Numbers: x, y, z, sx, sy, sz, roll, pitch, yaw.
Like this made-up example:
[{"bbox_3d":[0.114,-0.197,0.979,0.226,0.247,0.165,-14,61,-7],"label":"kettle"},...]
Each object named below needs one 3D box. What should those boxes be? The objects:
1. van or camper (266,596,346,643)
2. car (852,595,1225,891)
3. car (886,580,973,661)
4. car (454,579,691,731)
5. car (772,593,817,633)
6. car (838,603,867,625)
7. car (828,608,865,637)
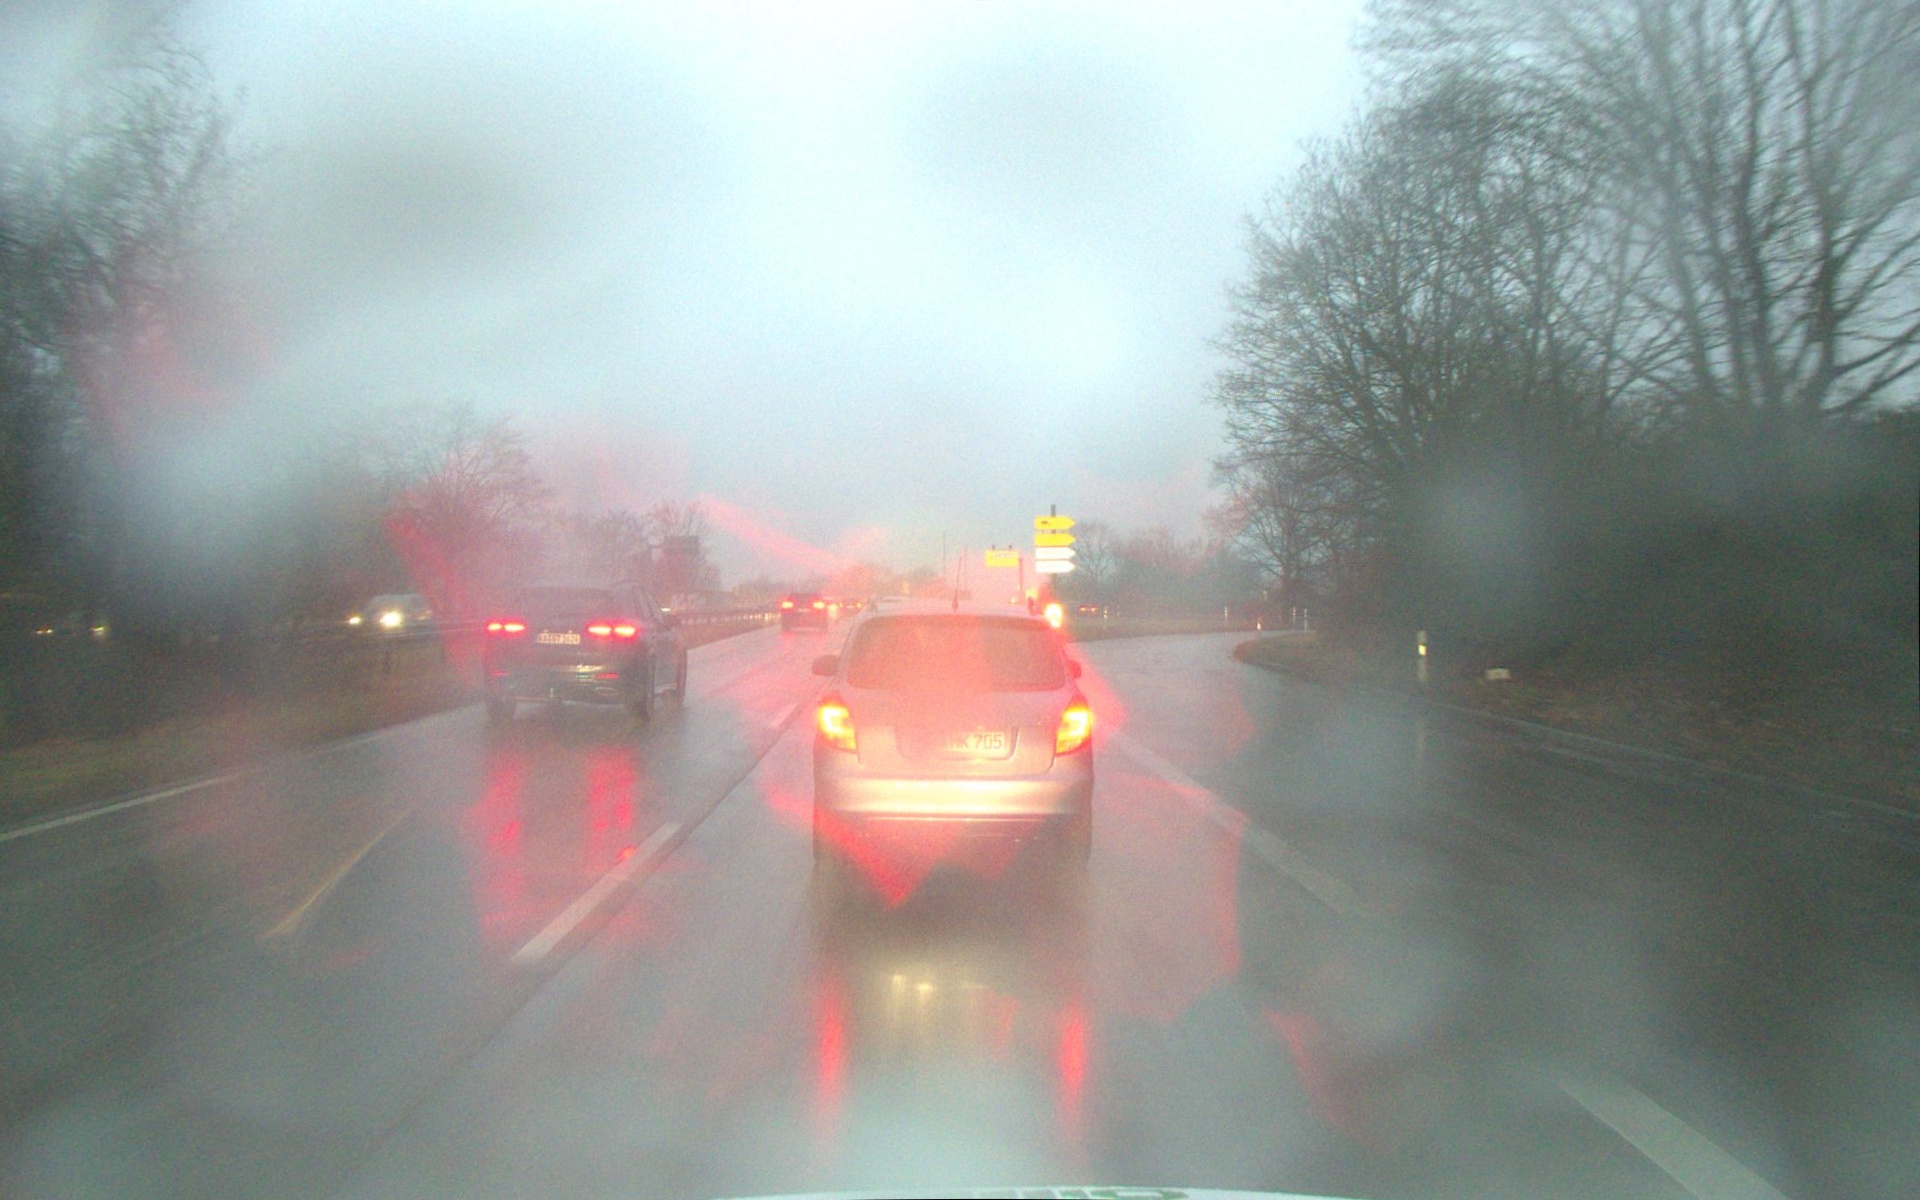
[{"bbox_3d":[-26.902,0.792,68.145,1.615,1.815,4.208,-1,0,0],"label":"van or camper"},{"bbox_3d":[0.414,0.771,10.814,1.953,1.527,4.137,-1,0,0],"label":"car"},{"bbox_3d":[-0.772,0.454,39.329,1.860,1.798,4.305,0,0,-4],"label":"car"},{"bbox_3d":[-4.567,0.600,20.161,1.953,1.629,4.307,1,0,-2],"label":"car"},{"bbox_3d":[-6.781,0.515,68.043,1.754,1.572,3.996,0,0,-5],"label":"car"},{"bbox_3d":[-7.416,0.964,114.606,1.753,1.509,4.000,-1,0,0],"label":"car"},{"bbox_3d":[-6.303,1.242,92.120,1.753,1.572,4.000,-1,0,0],"label":"car"}]
